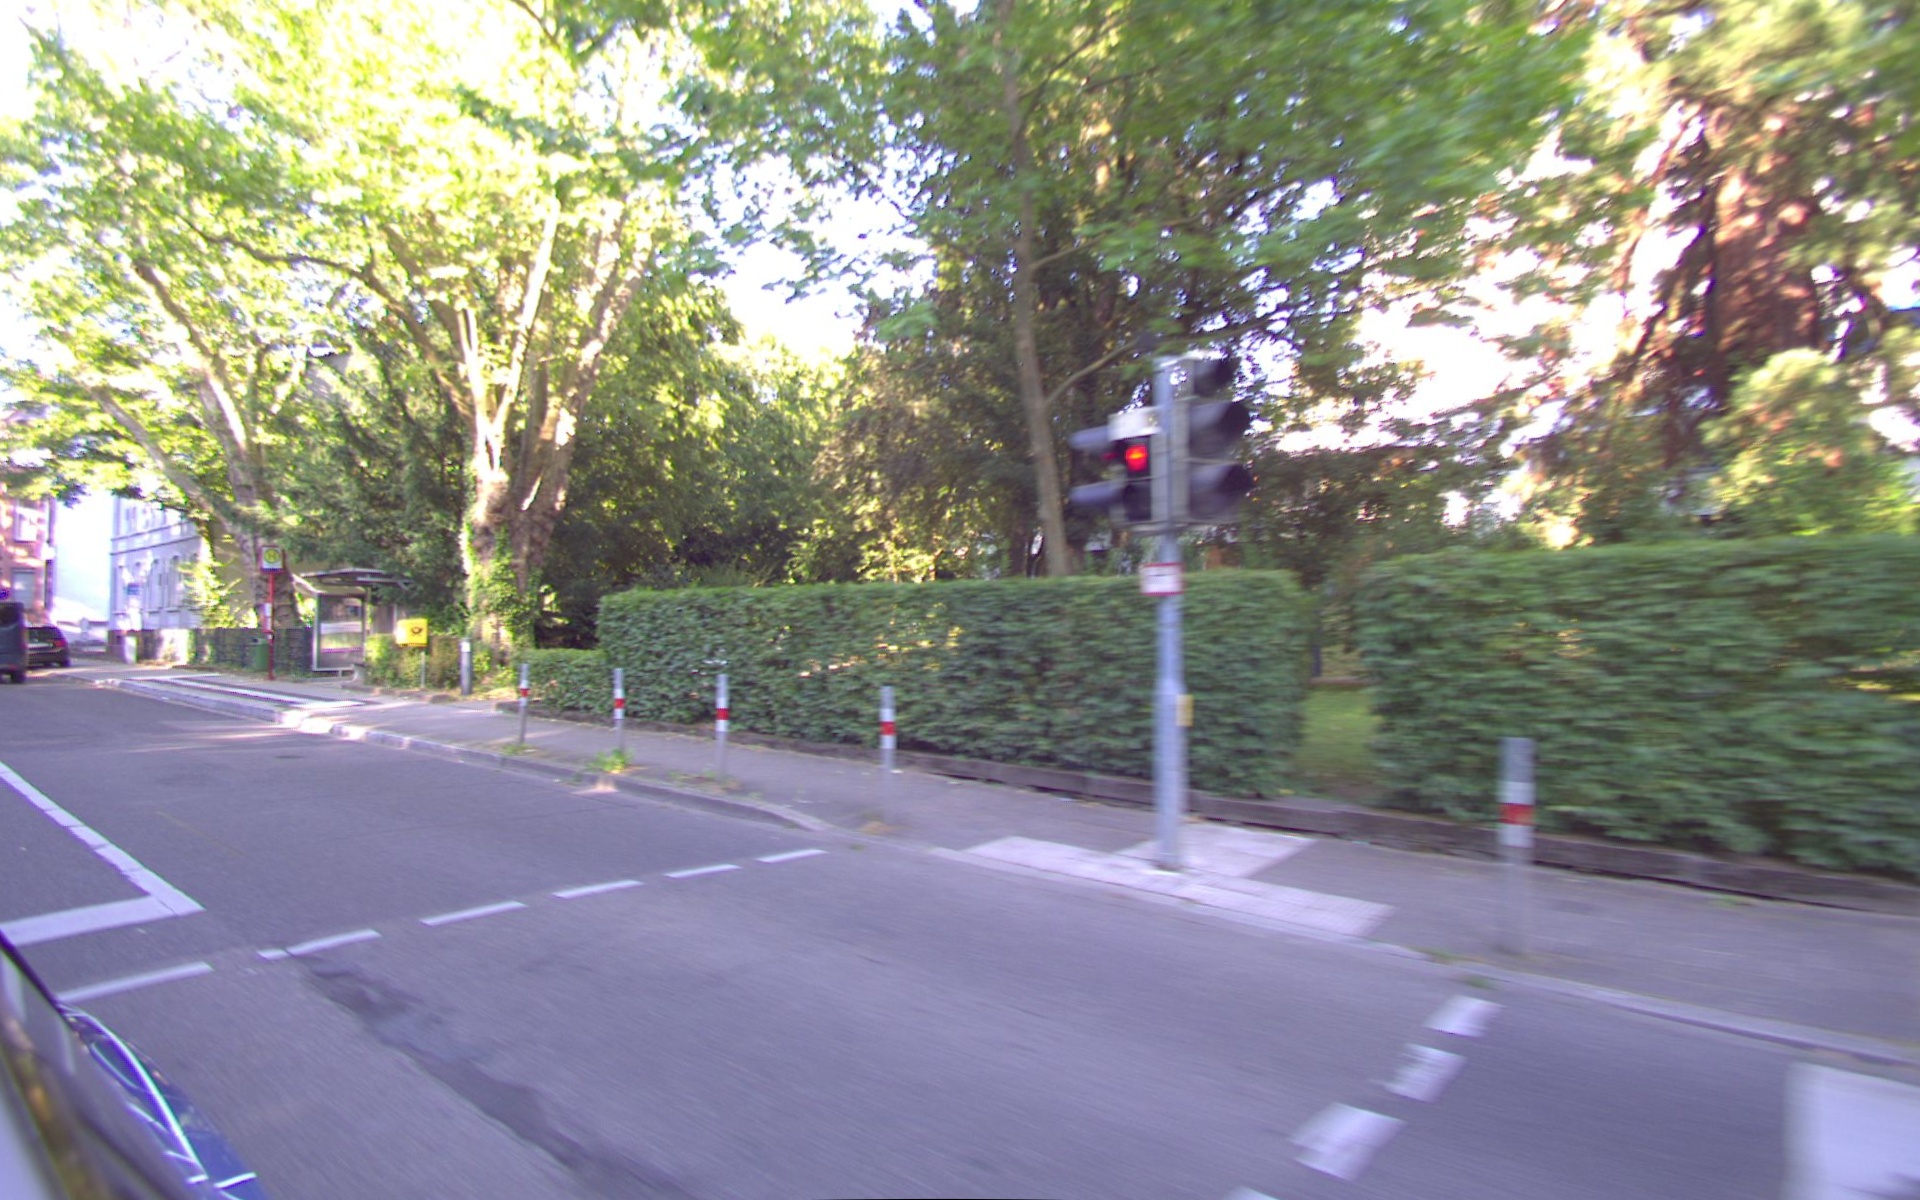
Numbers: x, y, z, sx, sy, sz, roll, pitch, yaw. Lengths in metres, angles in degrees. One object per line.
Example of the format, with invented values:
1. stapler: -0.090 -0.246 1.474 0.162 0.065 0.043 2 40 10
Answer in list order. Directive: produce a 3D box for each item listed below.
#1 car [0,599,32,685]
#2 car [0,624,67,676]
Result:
1. car: -24.421 1.005 24.603 4.772 1.983 1.974 -2 -4 39
2. car: -29.384 1.534 31.610 3.612 1.445 1.669 -2 1 39
